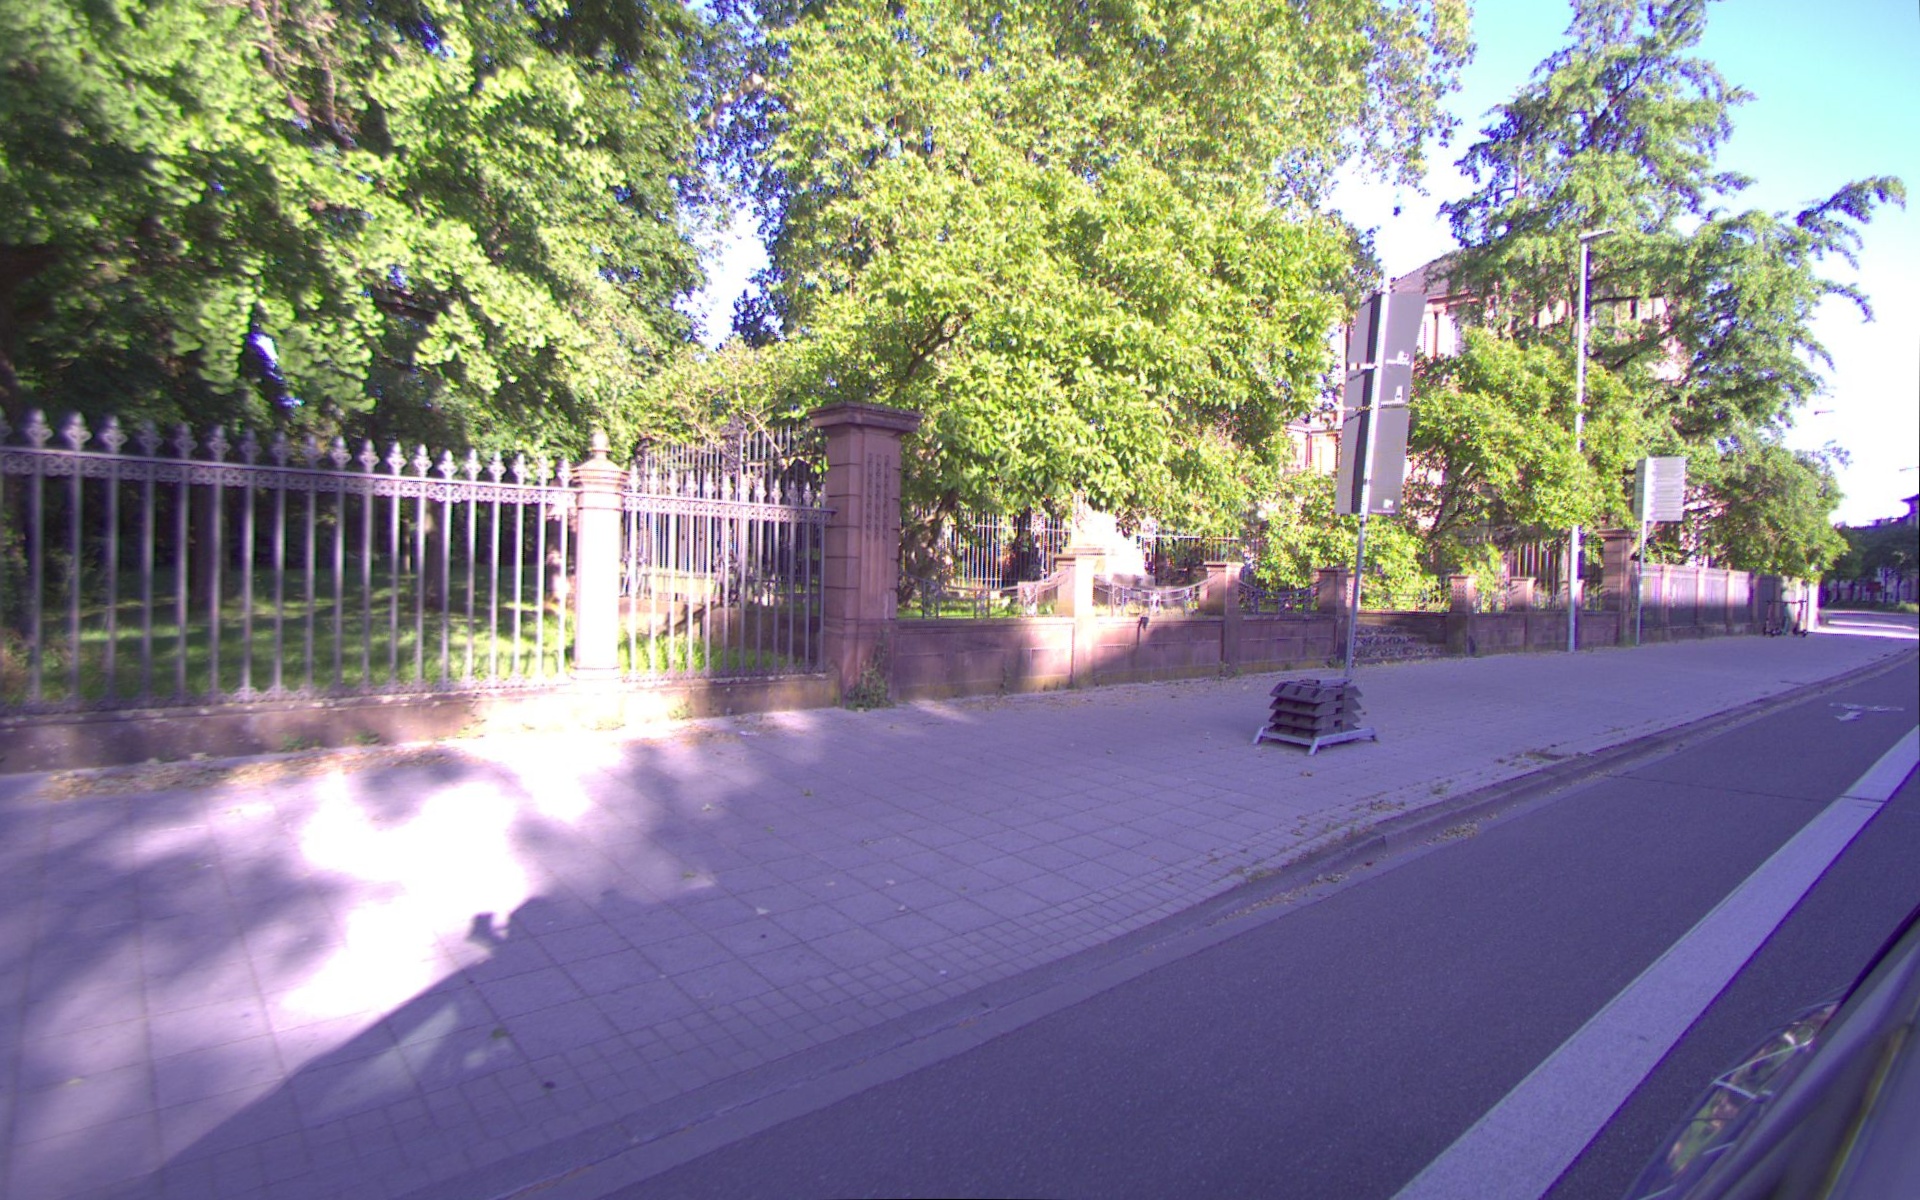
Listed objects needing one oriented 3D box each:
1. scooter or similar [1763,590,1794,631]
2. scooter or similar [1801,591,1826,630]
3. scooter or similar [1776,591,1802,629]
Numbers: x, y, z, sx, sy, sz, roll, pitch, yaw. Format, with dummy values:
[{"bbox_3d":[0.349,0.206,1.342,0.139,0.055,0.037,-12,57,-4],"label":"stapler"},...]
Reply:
[{"bbox_3d":[26.349,0.316,32.584,0.572,1.269,1.470,3,2,33],"label":"scooter or similar"},{"bbox_3d":[28.801,0.327,34.150,0.514,1.255,1.502,3,2,37],"label":"scooter or similar"},{"bbox_3d":[27.700,0.321,33.804,0.574,1.199,1.465,3,2,41],"label":"scooter or similar"}]
